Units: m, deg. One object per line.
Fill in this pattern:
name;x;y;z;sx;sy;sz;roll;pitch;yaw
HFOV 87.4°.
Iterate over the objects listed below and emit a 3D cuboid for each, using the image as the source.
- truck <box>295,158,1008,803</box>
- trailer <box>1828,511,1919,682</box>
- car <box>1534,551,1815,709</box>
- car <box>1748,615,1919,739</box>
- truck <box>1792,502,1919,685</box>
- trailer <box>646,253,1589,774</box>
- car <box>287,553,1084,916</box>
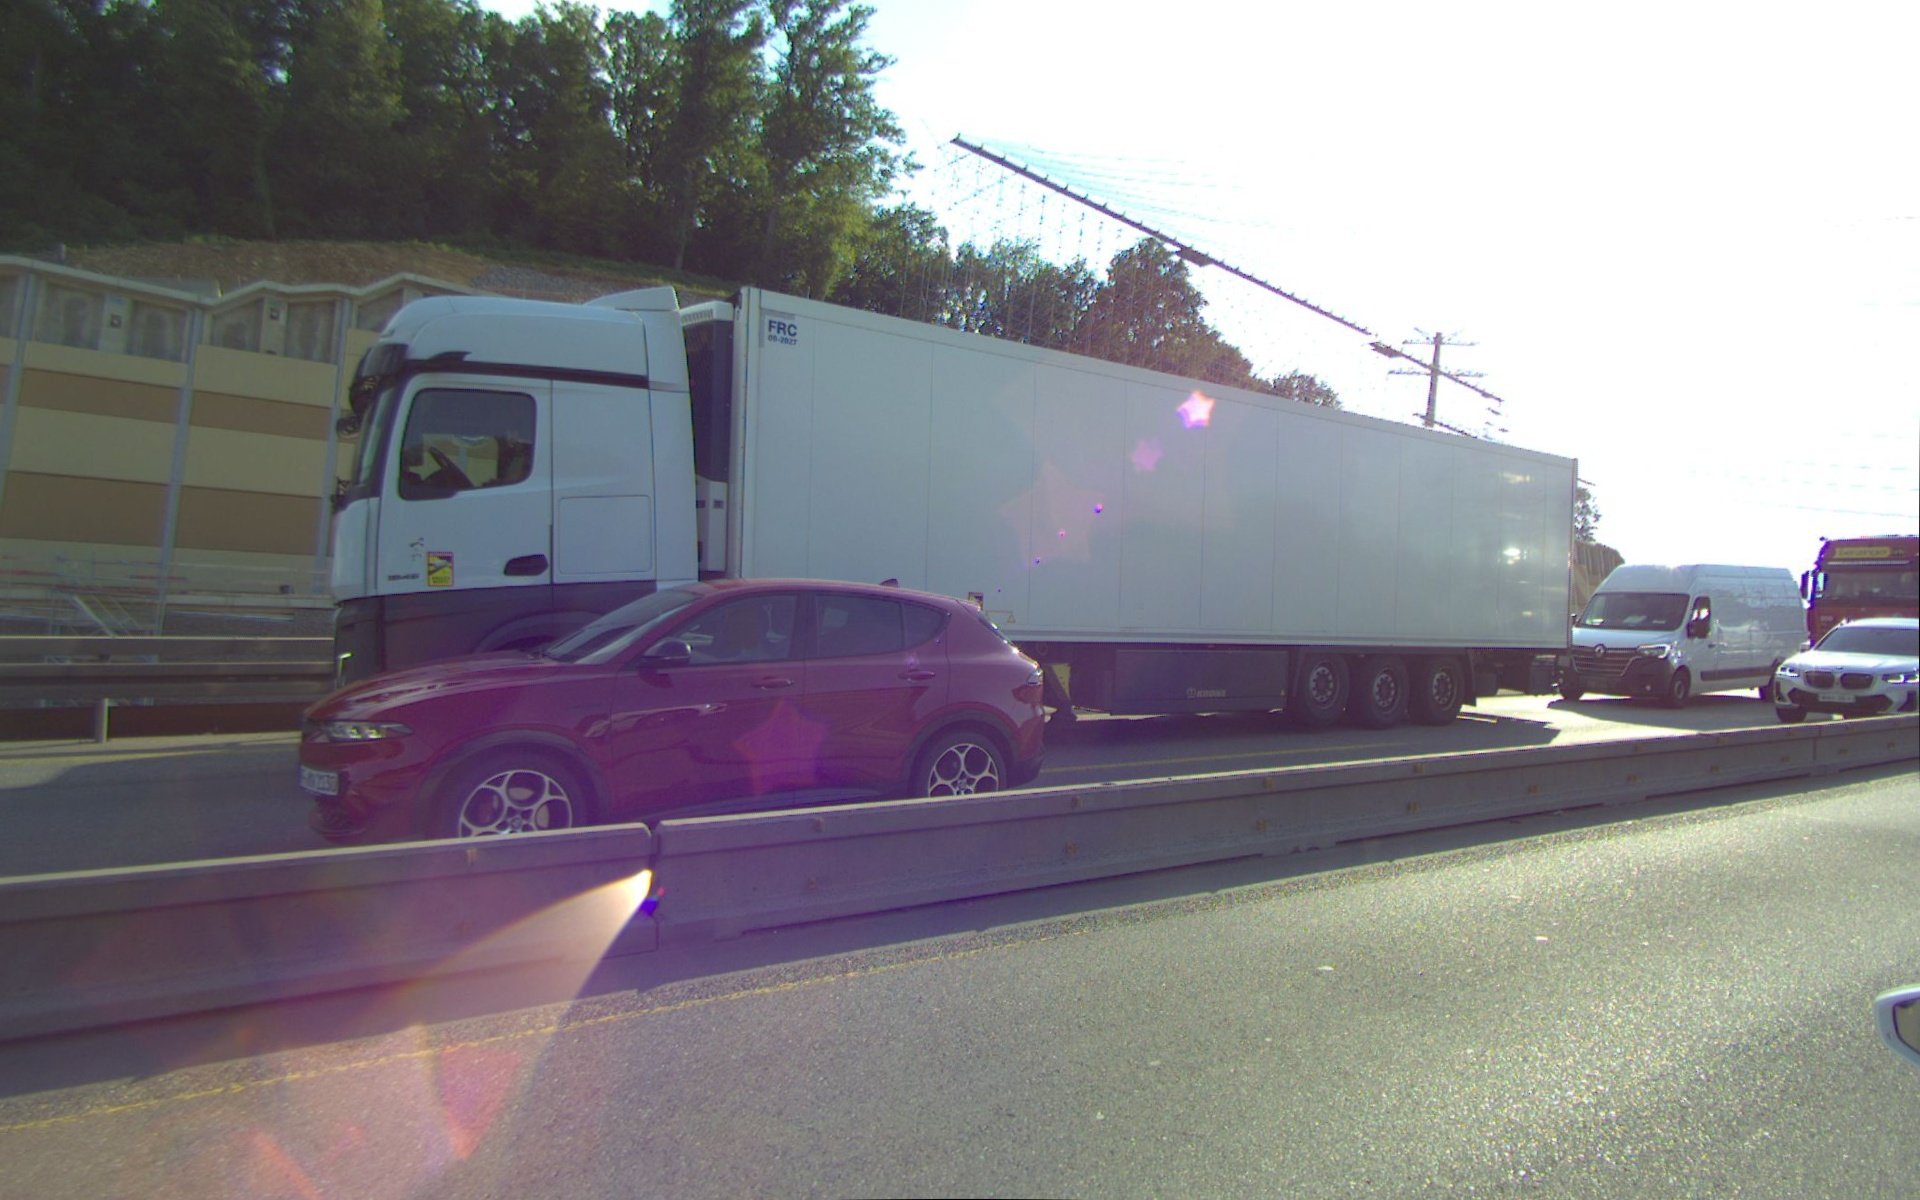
truck;-2.668;-0.724;9.306;5.620;4.274;2.698;2;0;-32
trailer;30.198;0.096;30.128;13.736;4.391;2.749;2;0;-34
car;14.347;0.523;19.988;6.870;2.726;2.011;1;1;-32
car;14.813;1.114;16.189;4.752;1.610;1.858;0;2;-33
truck;24.715;-0.081;26.423;5.872;4.357;2.728;2;0;-34
trailer;3.204;-0.530;13.024;13.597;4.274;2.706;2;0;-32
car;-1.539;0.591;6.352;4.405;1.589;1.877;1;1;-32
